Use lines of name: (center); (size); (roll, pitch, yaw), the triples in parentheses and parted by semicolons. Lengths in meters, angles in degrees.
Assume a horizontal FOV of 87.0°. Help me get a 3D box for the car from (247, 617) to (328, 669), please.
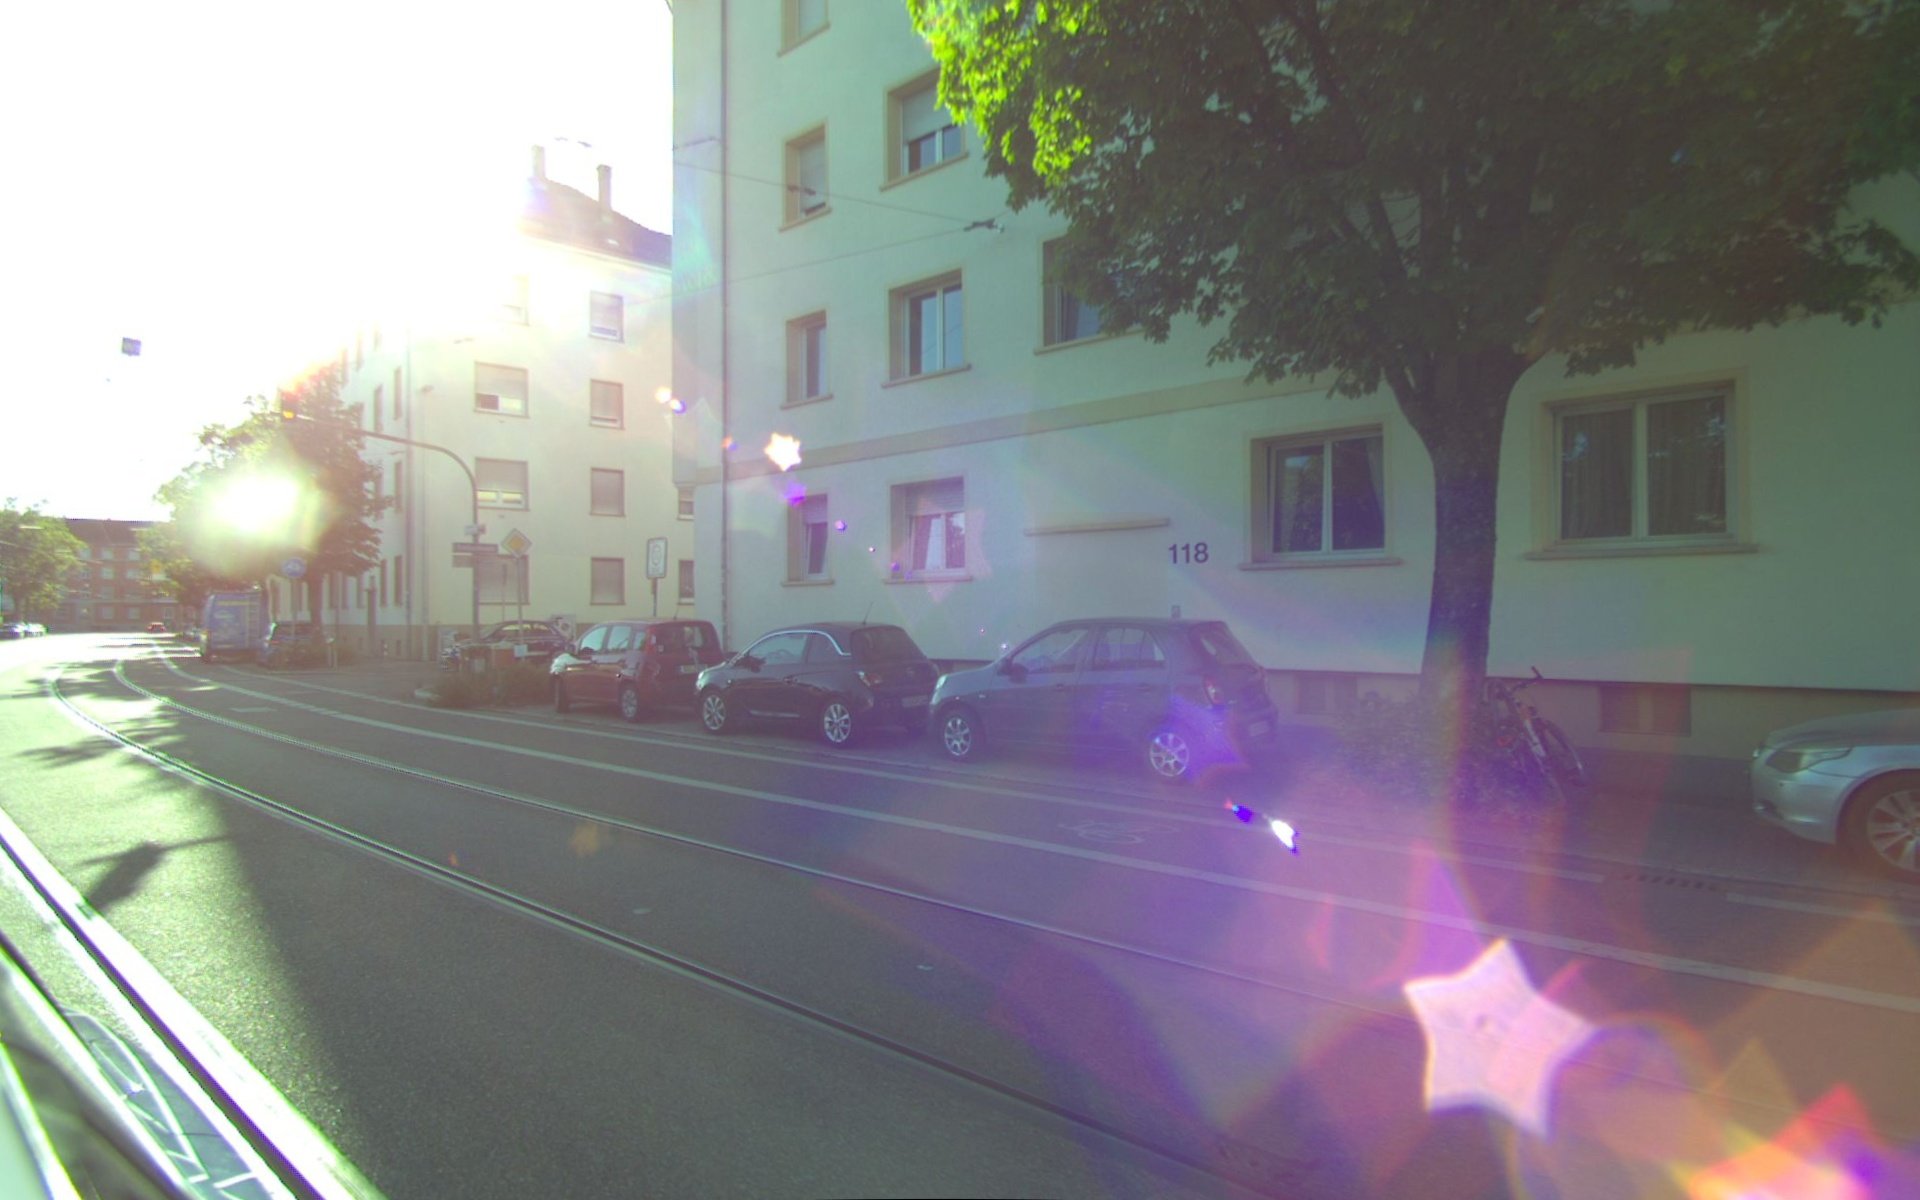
car: (-23.130, 1.419, 34.720); (1.768, 1.572, 4.650); (-4, 2, -40)

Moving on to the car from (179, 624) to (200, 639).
car: (-79.985, 3.240, 105.040); (1.552, 1.516, 4.007); (-2, 0, -39)

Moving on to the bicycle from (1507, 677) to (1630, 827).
bicycle: (4.724, 1.101, 7.788); (0.477, 0.831, 2.106); (-1, 0, 40)

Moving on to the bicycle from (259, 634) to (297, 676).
bicycle: (-19.941, 1.595, 29.567); (2.032, 1.143, 0.506); (-1, 0, 44)

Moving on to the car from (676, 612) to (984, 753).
car: (-1.756, 0.950, 13.052); (3.853, 1.541, 1.769); (-1, -1, 38)

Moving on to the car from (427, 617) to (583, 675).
car: (-13.404, 1.304, 29.939); (3.840, 1.469, 1.770); (-2, 0, -43)

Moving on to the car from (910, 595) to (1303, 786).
car: (1.431, 0.815, 10.521); (3.724, 1.626, 1.577); (-1, 0, 36)

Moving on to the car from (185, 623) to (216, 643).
car: (-61.567, 2.624, 82.010); (1.841, 1.501, 4.669); (-2, 0, -39)

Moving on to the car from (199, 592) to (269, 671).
car: (-28.933, 1.190, 40.240); (1.991, 2.847, 6.044); (-1, 0, -38)

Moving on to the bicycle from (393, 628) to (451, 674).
bicycle: (-16.041, 1.505, 30.176); (0.397, 1.238, 1.485); (2, 3, 42)

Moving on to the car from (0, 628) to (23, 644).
car: (-92.455, 3.470, 98.320); (1.681, 1.493, 4.667); (3, -3, -39)

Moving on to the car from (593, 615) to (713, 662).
car: (-10.051, 1.228, 33.269); (3.466, 1.469, 1.580); (1, -2, -43)

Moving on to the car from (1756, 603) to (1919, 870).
car: (7.204, 0.754, 5.299); (4.659, 1.486, 1.671); (-1, 0, 42)

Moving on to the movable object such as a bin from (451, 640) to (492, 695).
movable object such as a bin: (-9.233, 1.268, 19.122); (0.660, 0.995, 0.479); (-1, 0, 43)

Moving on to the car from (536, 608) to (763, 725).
car: (-4.975, 0.951, 15.905); (4.001, 1.541, 1.670); (-1, 1, 44)
